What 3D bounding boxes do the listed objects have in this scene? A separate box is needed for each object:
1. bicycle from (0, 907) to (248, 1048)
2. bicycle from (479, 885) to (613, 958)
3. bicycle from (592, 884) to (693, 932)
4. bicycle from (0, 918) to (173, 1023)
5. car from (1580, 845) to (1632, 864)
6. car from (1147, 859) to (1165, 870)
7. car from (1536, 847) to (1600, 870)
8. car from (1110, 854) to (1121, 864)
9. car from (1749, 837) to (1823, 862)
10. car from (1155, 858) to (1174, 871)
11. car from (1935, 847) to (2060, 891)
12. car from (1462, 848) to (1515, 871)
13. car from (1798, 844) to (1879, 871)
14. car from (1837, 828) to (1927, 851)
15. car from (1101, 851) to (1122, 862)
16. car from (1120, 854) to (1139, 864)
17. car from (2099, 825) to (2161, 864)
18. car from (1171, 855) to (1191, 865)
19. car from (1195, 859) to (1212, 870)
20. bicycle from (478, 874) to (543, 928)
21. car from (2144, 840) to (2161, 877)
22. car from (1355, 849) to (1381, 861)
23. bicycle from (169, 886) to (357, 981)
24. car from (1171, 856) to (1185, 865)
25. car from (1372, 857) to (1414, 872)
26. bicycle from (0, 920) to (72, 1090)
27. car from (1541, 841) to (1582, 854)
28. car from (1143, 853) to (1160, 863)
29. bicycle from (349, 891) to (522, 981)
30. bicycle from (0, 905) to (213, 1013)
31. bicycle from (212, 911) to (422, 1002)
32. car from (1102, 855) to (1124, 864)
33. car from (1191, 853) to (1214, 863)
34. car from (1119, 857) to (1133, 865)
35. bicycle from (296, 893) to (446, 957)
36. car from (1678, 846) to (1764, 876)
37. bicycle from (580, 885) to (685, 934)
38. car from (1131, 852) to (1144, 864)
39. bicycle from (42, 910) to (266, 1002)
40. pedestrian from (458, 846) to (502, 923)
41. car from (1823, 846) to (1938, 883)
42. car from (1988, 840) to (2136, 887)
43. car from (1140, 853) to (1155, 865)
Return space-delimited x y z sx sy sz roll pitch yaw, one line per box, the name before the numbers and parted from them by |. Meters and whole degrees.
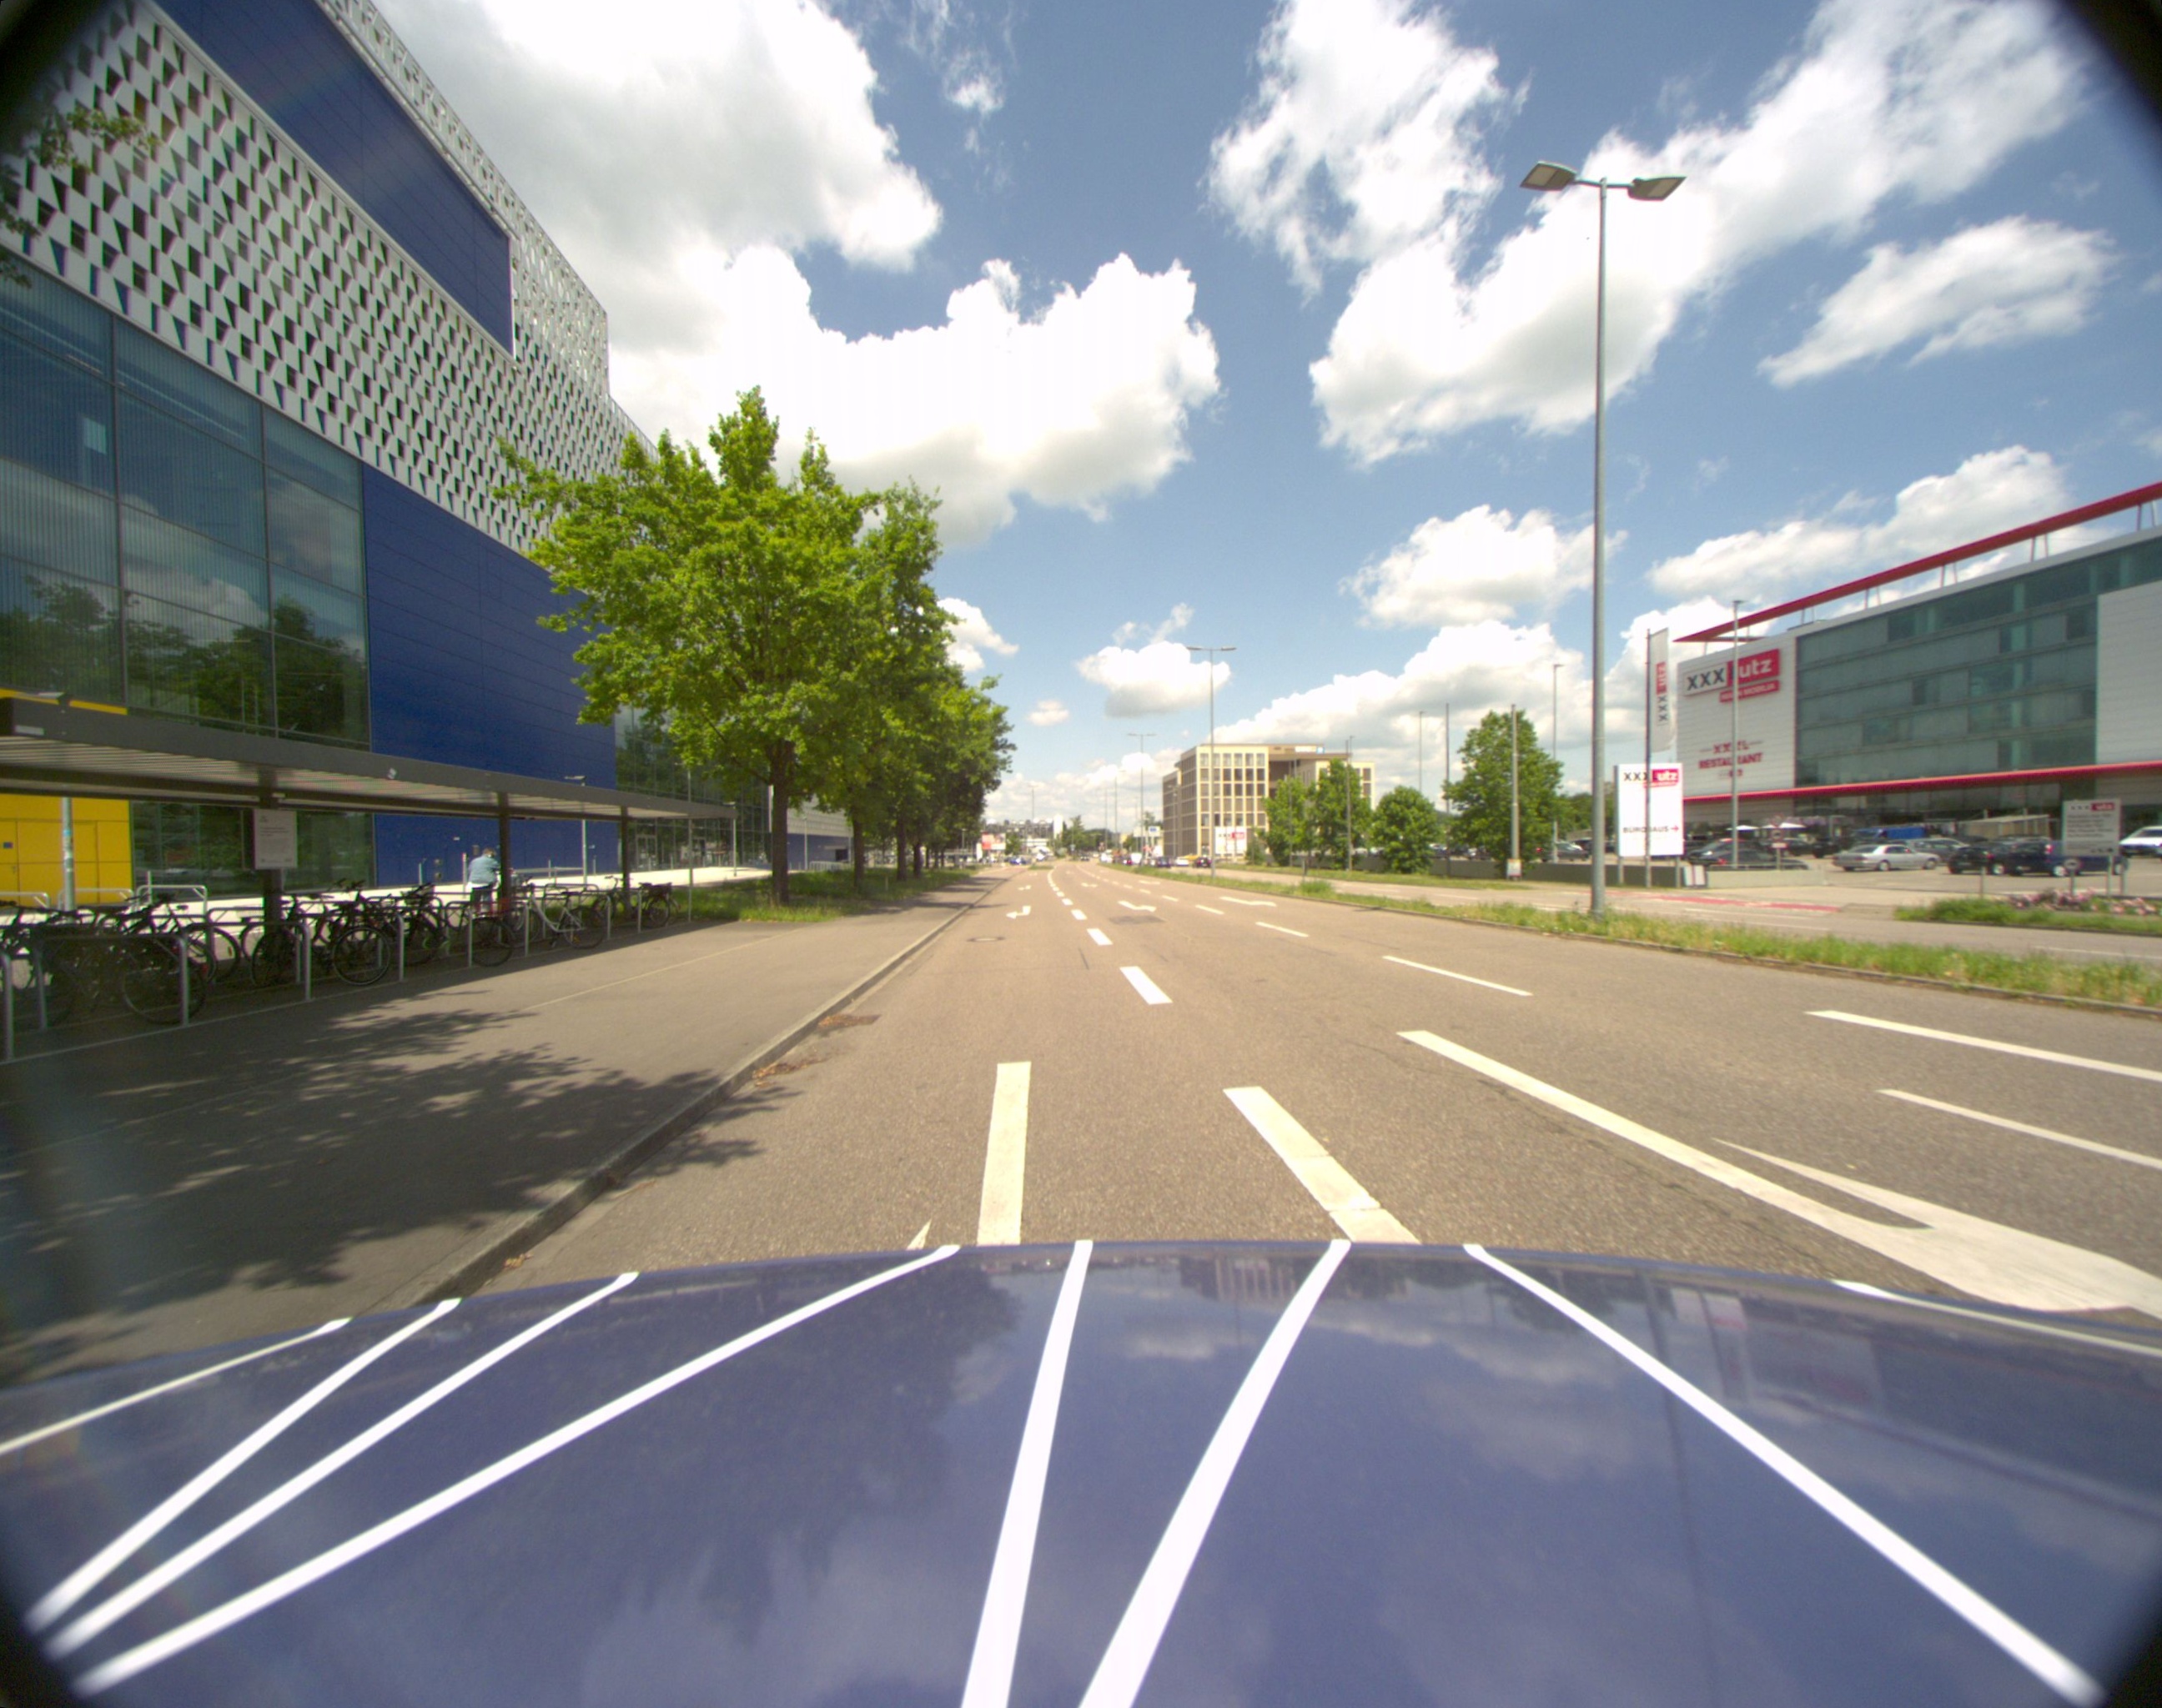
bicycle | -8.740 1.079 6.810 1.868 1.180 0.423 0 0 -8
bicycle | -8.886 1.111 12.653 1.901 1.163 0.424 0 0 -2
bicycle | -9.524 1.170 16.548 1.868 0.989 0.423 1 0 -8
bicycle | -10.542 1.172 7.731 1.868 0.989 0.423 0 0 -8
car | 56.634 0.062 81.991 4.361 1.977 1.999 0 0 -4
car | 9.976 1.385 101.494 1.796 1.409 4.673 0 0 -2
car | 42.489 0.401 66.373 4.361 1.977 2.000 0 -1 -4
car | 5.854 0.872 128.954 1.796 1.635 4.171 0 -1 0
car | 57.804 -0.343 62.354 4.361 1.977 1.999 0 0 -4
car | 10.210 1.245 92.776 1.744 1.466 3.675 0 1 -2
car | 44.270 0.693 36.736 4.083 1.978 1.842 -2 1 -5
car | 41.999 0.577 78.352 4.361 2.315 1.999 0 1 -4
car | 57.714 0.272 57.899 4.361 1.977 1.999 0 0 -4
car | 63.708 -1.152 60.499 5.132 1.768 2.198 0 0 -5
car | 5.698 0.492 143.523 3.997 2.002 2.000 0 0 0
car | 7.803 0.837 122.399 1.799 1.551 3.764 0 -1 -20
car | 64.286 -0.555 45.448 4.569 2.293 1.869 0 1 -4
car | 14.816 0.953 112.708 1.625 1.464 4.355 0 -1 -10
car | 15.662 1.313 97.336 1.623 1.461 4.116 0 0 1
bicycle | -12.997 1.035 17.283 2.008 1.101 0.578 1 1 34
car | 59.065 0.225 39.755 4.361 1.977 1.999 0 0 -4
car | 43.332 0.127 114.704 1.855 1.822 4.672 0 0 -4
bicycle | -10.983 1.051 10.242 1.868 1.224 0.423 0 0 -8
car | 15.263 0.971 119.806 1.623 1.383 4.583 0 -1 0
car | 35.582 1.181 86.634 3.997 1.586 1.849 0 0 -1
bicycle | -8.653 1.097 5.496 1.868 1.180 0.423 0 0 -8
car | 56.571 -0.793 89.461 3.831 1.461 1.680 0 0 -2
car | 9.977 0.549 108.121 1.796 1.393 4.845 1 -1 -1
bicycle | -8.823 1.103 10.426 1.868 1.180 0.423 0 0 -8
bicycle | -10.858 1.136 8.372 1.868 1.109 0.423 0 1 -8
bicycle | -8.966 1.186 8.961 1.868 0.989 0.423 0 0 -8
car | 6.099 0.979 142.960 3.995 1.681 1.859 0 0 6
car | 22.784 0.748 142.411 3.990 1.681 1.861 0 0 21
car | 6.945 1.119 116.675 1.796 1.243 4.307 0 -1 -1
bicycle | -11.480 1.145 12.318 1.868 0.989 0.423 1 1 -8
car | 43.711 0.458 51.971 4.361 1.977 1.999 0 0 -4
bicycle | -9.462 1.174 16.061 1.868 0.989 0.423 1 0 -8
car | 9.523 0.646 128.835 1.862 2.031 3.576 0 -1 0
bicycle | -10.952 1.190 9.018 1.868 0.989 0.423 0 2 -8
pedestrian | -13.743 0.674 17.374 0.523 1.712 0.636 1 2 35
car | 43.543 0.554 41.425 4.361 1.977 1.999 0 0 -4
car | 44.212 0.410 34.301 4.361 1.977 1.999 -1 1 -4
car | 10.085 0.793 114.912 1.796 1.691 4.227 0 -1 -1
